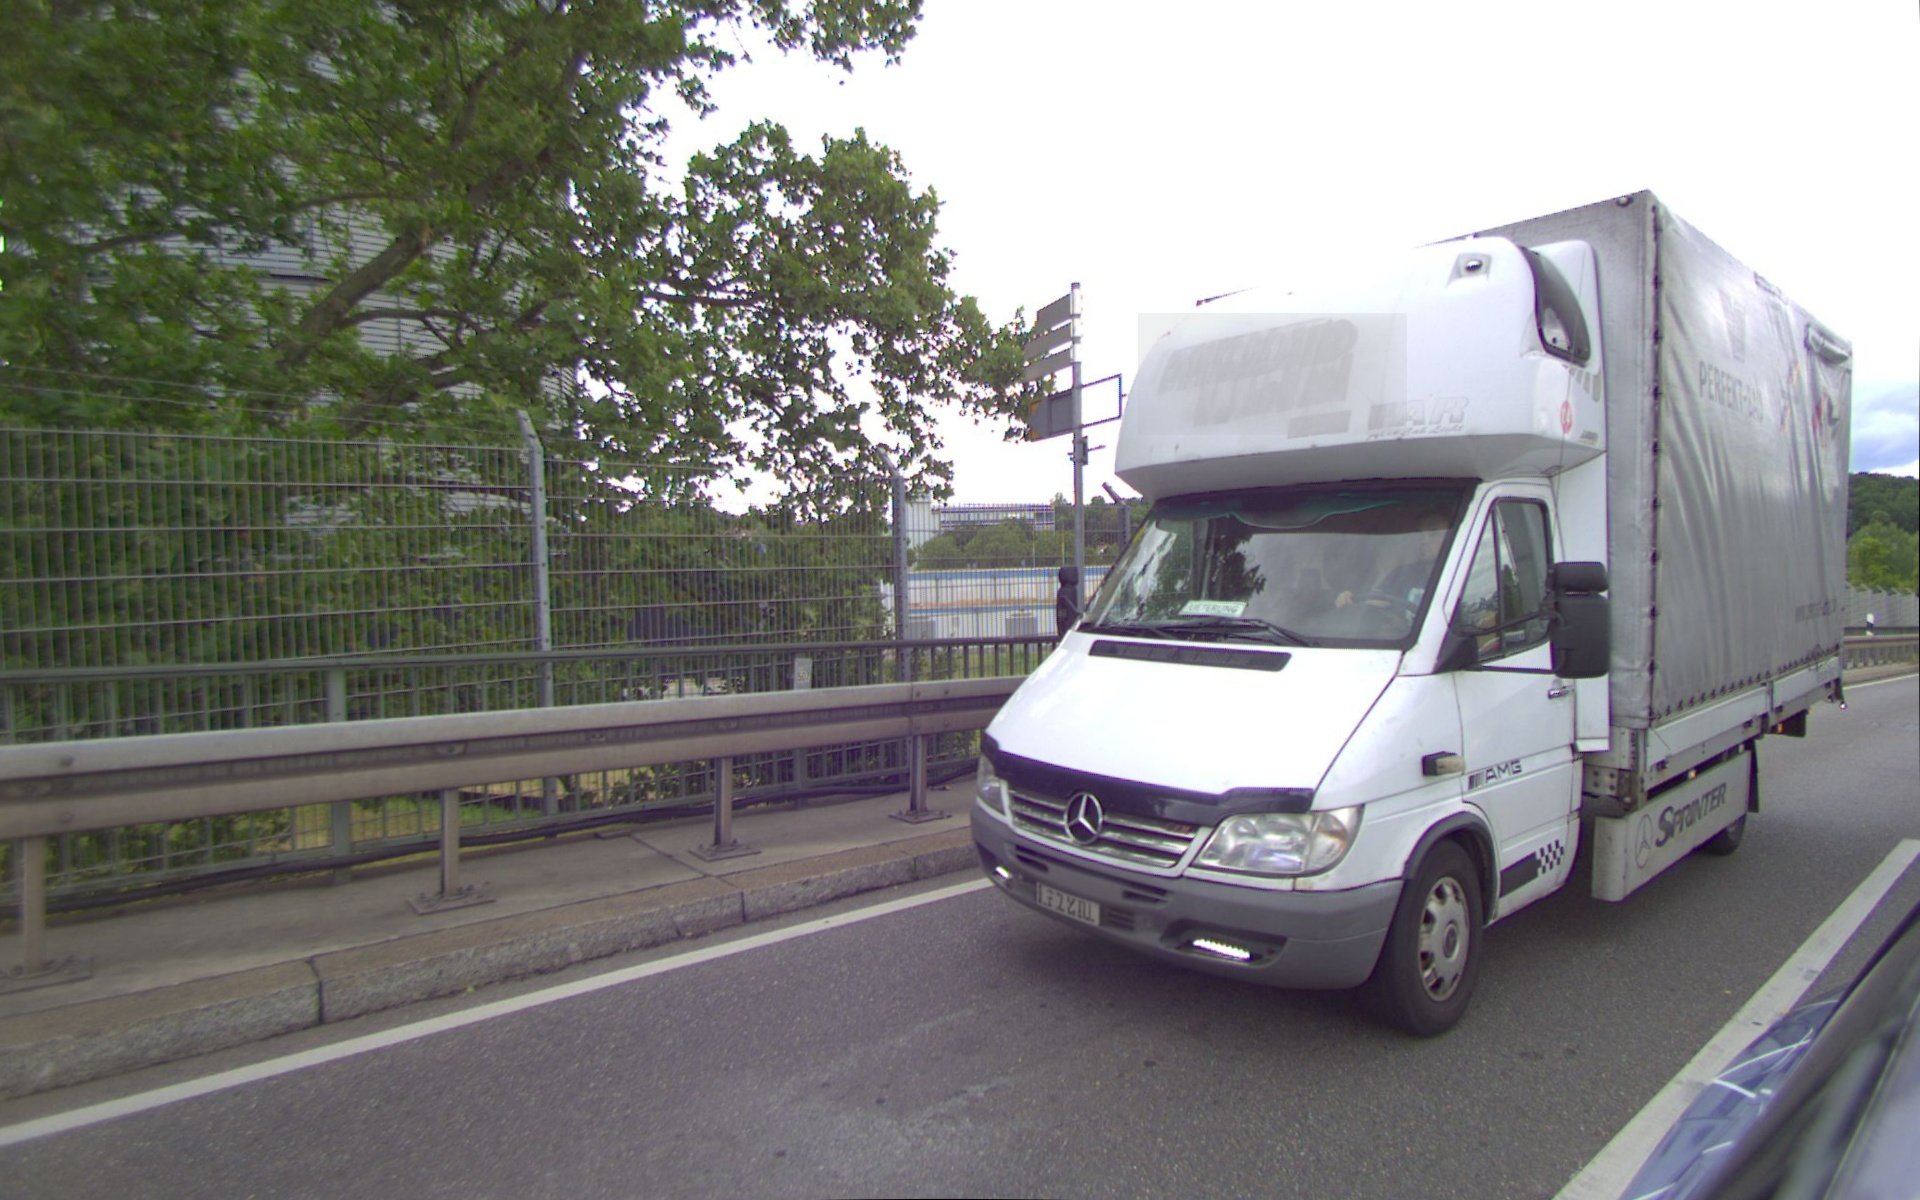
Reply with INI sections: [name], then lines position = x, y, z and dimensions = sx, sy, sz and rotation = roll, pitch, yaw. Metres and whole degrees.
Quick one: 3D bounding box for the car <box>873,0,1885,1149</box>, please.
[car]
position = 3.090, -0.291, 5.961
dimensions = 6.966, 3.371, 2.664
rotation = -1, 1, -41
